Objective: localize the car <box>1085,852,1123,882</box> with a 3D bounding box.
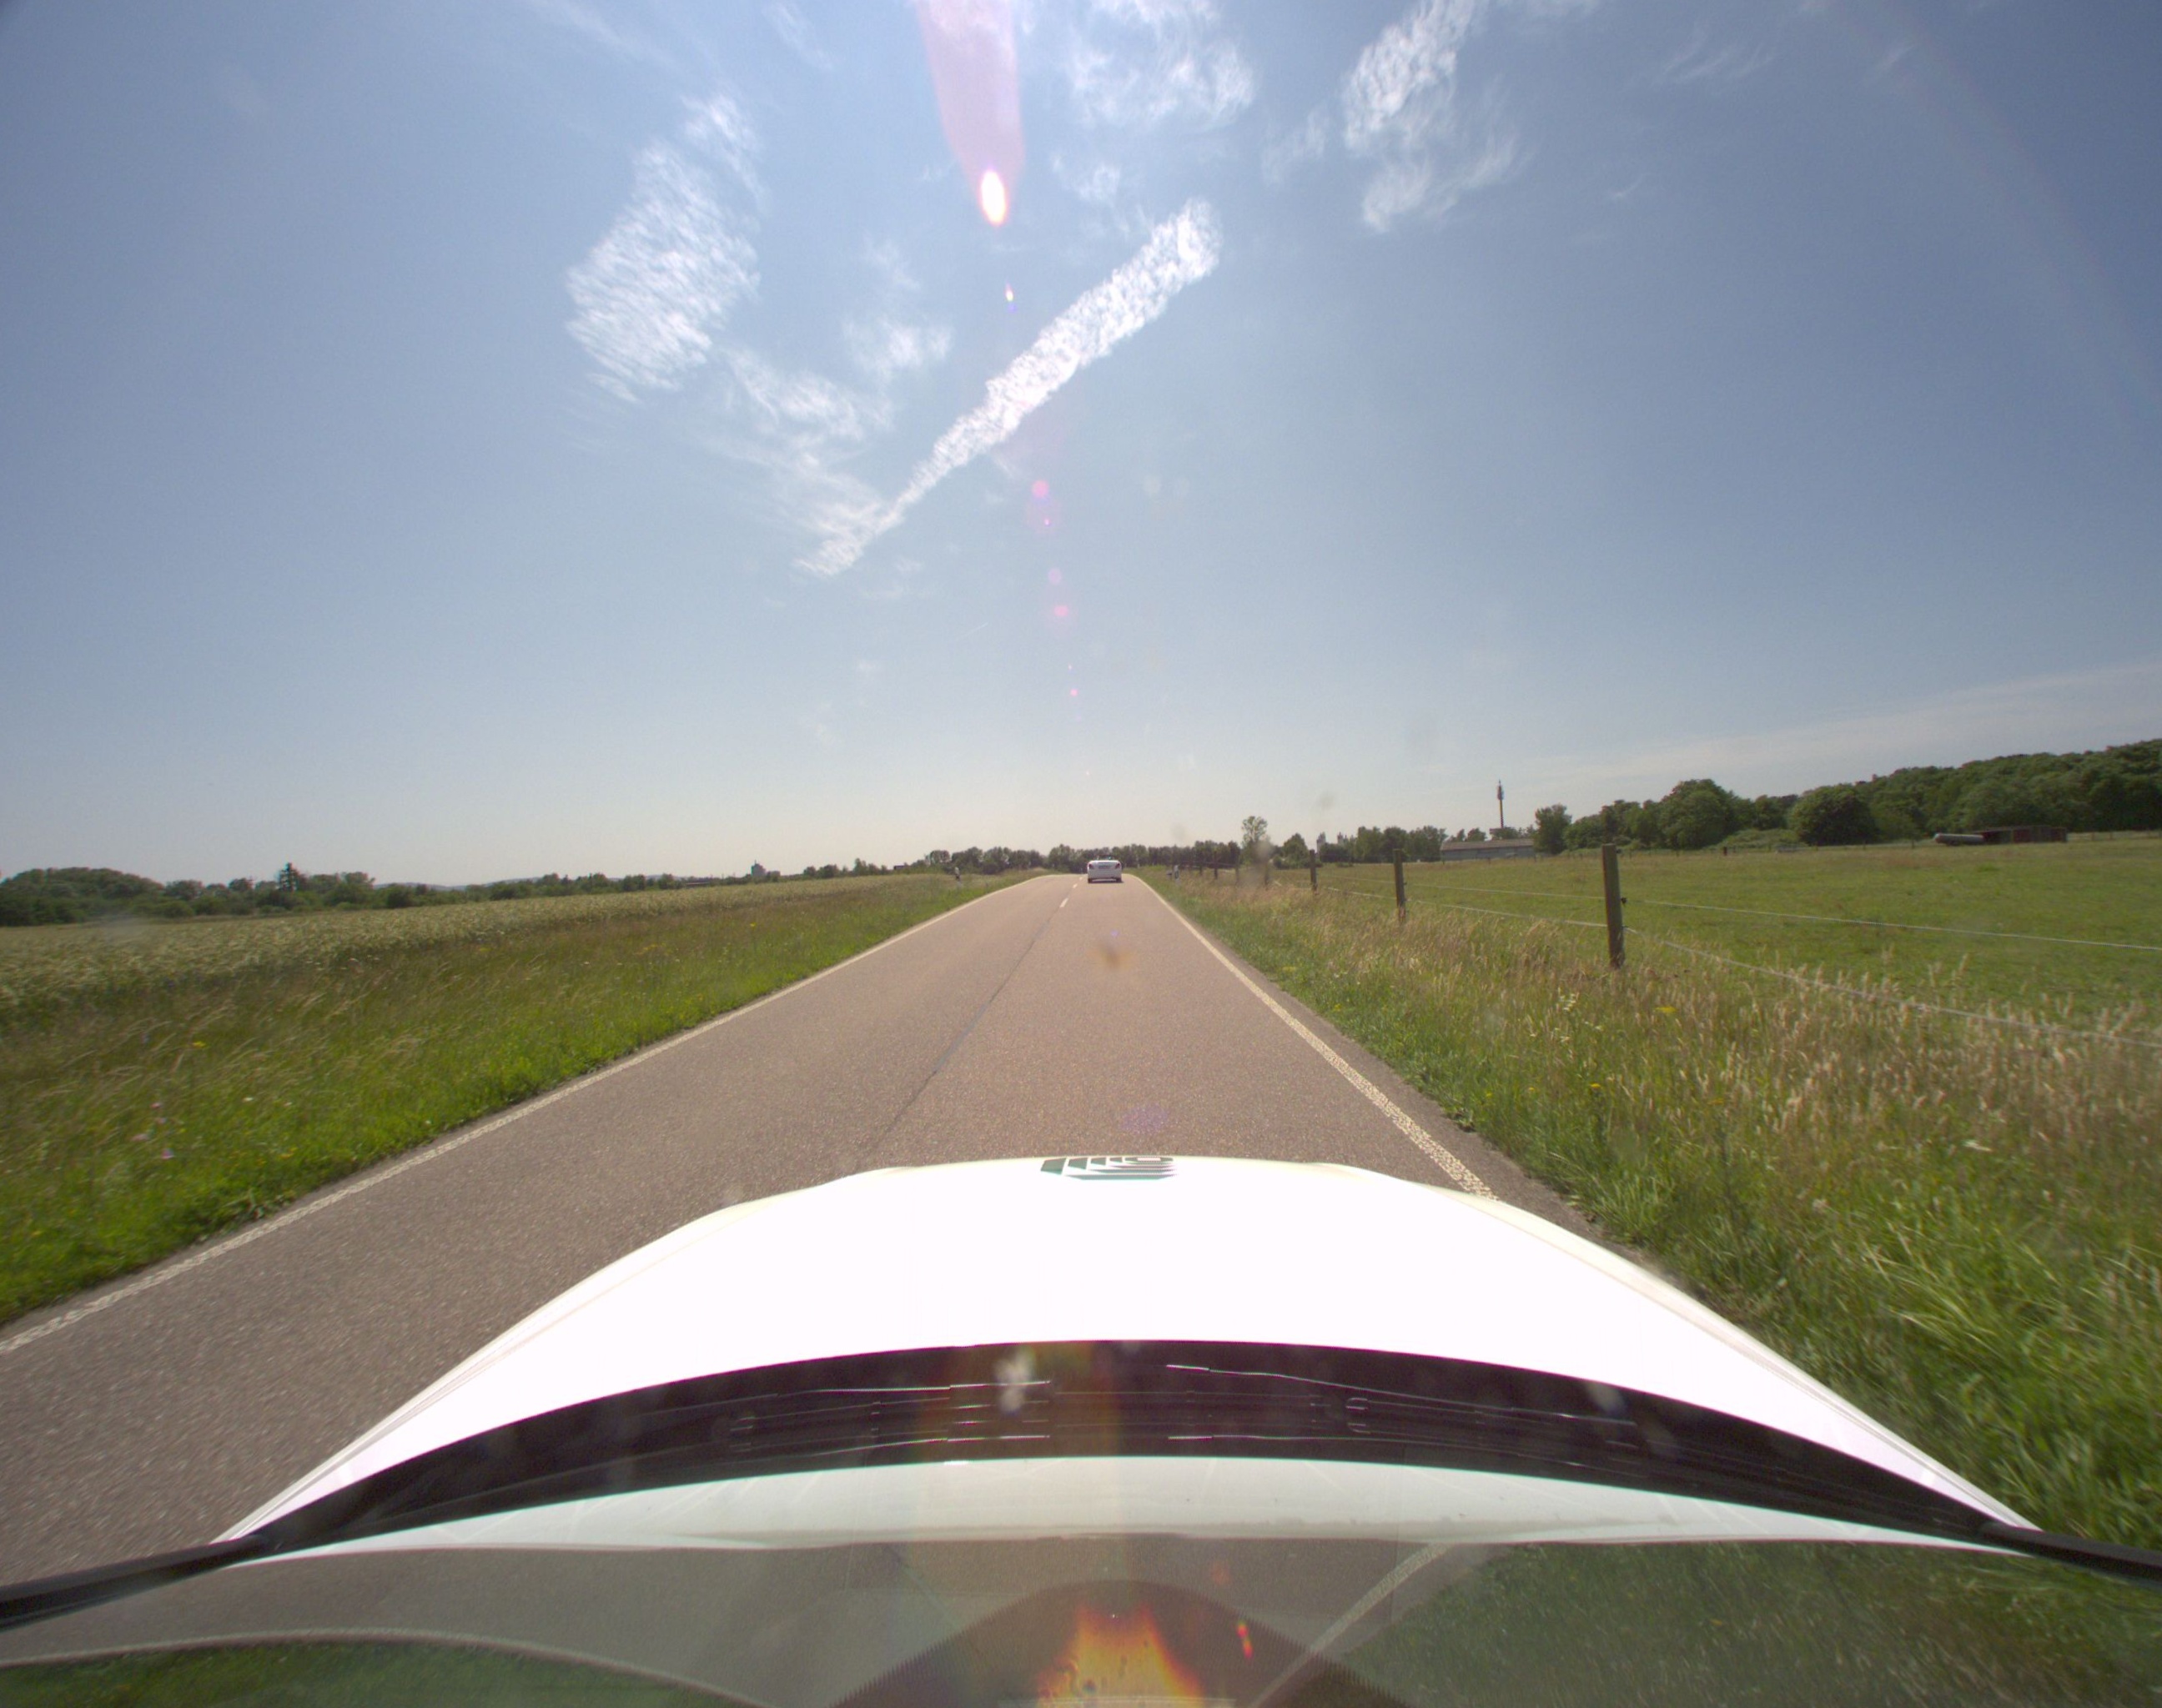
[{"bbox_3d":[1.156,0.629,41.580,1.844,1.379,4.001,-1,0,1],"label":"car"}]
